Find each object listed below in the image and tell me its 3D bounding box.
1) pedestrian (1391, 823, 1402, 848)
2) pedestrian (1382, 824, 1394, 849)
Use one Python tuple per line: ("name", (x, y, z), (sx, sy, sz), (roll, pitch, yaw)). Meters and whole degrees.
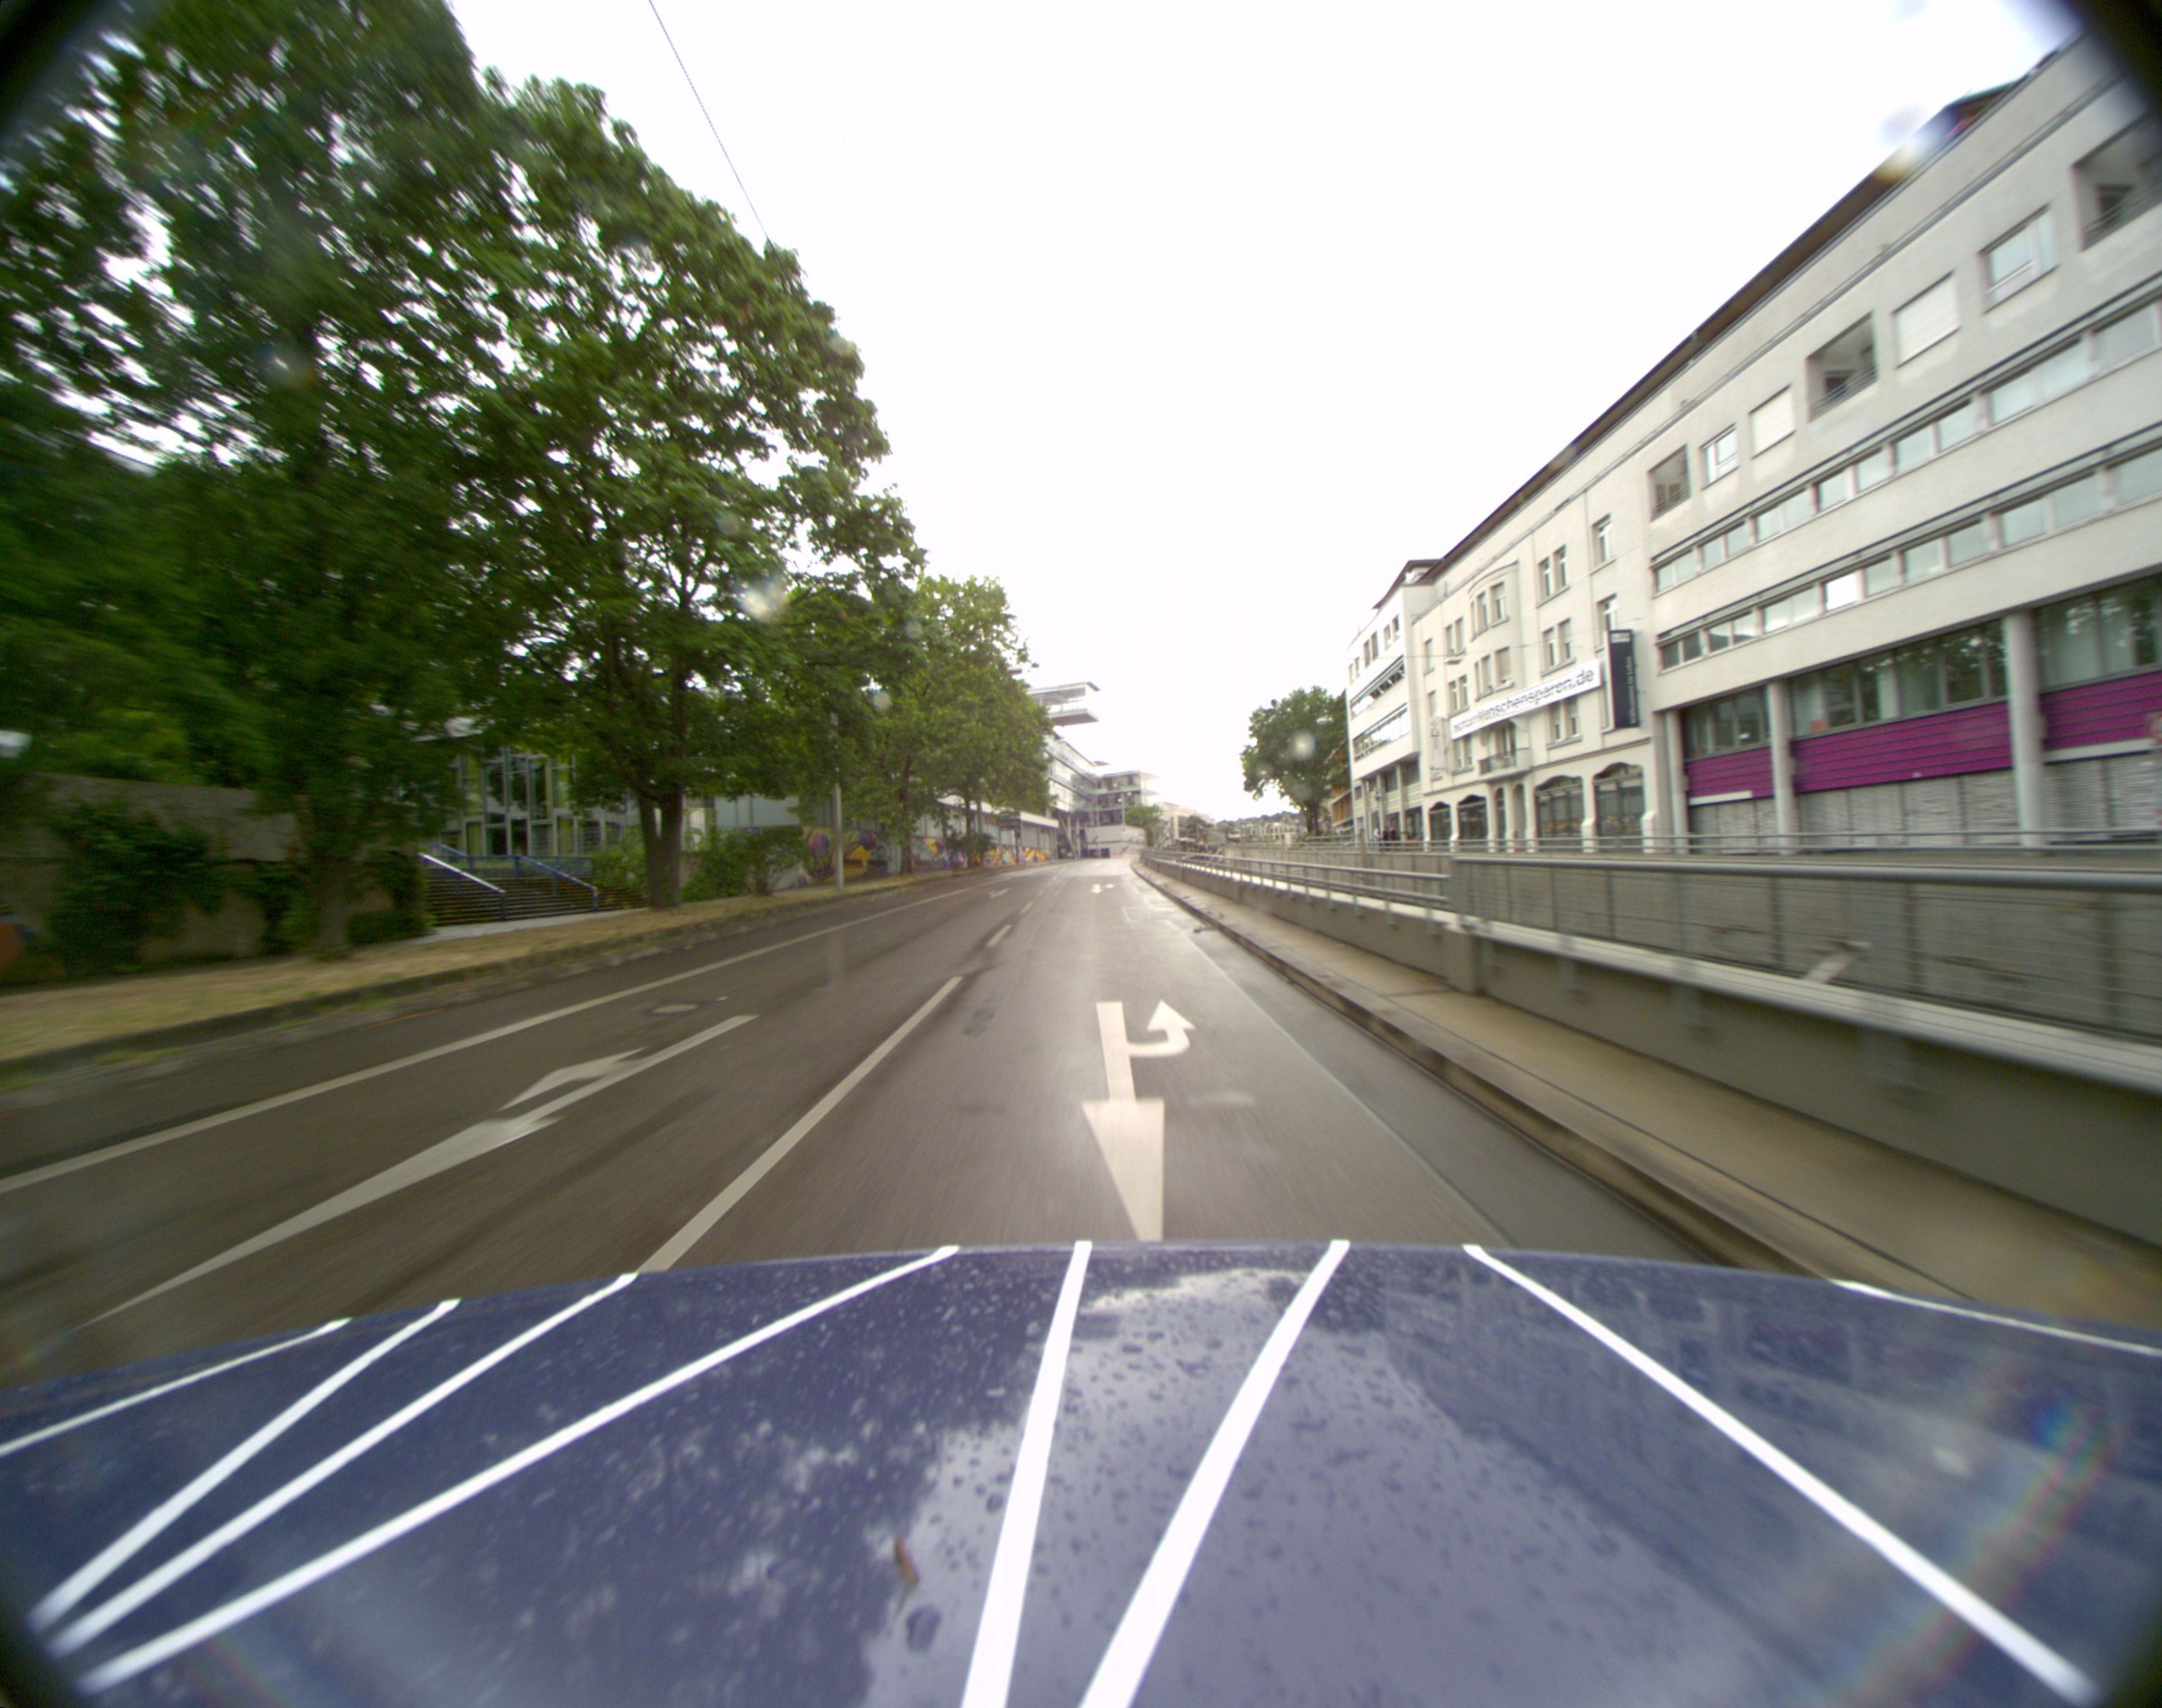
("pedestrian", (22.693, -1.344, 54.634), (0.470, 1.792, 0.547), (-4, 1, 3))
("pedestrian", (22.604, -1.278, 55.896), (0.547, 1.792, 0.470), (-4, 1, -7))
